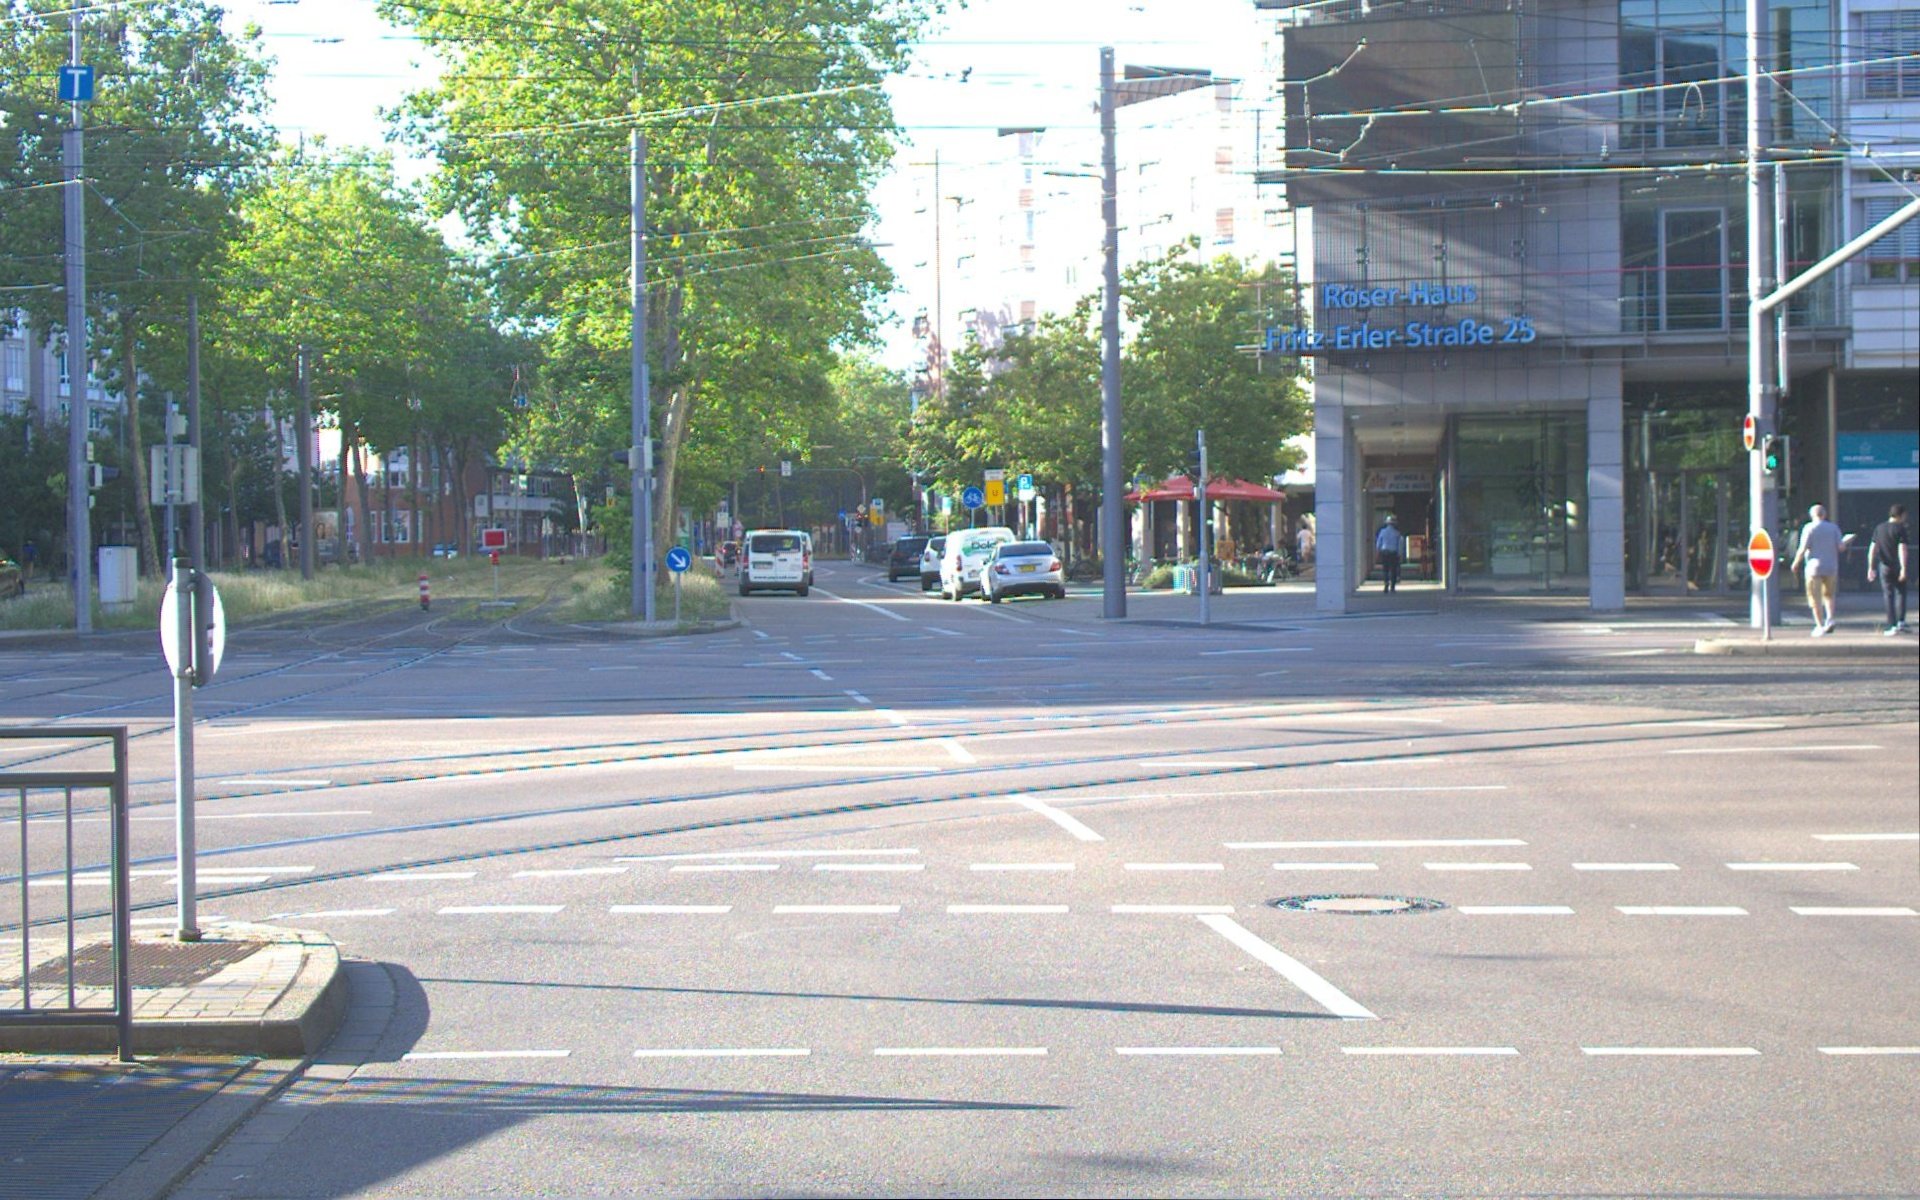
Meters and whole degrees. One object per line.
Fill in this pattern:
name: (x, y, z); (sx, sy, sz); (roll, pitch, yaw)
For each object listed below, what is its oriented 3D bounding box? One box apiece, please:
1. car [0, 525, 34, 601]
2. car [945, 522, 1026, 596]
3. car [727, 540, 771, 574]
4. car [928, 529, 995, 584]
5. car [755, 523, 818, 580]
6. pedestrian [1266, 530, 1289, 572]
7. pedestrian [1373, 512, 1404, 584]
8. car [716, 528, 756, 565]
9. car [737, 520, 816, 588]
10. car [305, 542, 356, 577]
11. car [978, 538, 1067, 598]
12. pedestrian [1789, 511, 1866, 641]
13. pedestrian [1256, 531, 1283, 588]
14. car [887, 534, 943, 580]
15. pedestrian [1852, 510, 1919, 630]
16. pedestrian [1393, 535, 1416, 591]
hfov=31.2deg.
car: (-21.672, -0.799, 74.915); (1.993, 1.634, 4.000); (-1, 1, -1)
car: (0.641, -1.091, 89.562); (1.993, 1.853, 4.000); (-1, 1, -1)
car: (-9.018, -1.836, 147.110); (1.797, 1.437, 4.000); (1, 1, -2)
car: (0.028, -1.354, 105.208); (1.993, 1.612, 4.000); (-1, 1, 0)
car: (-5.976, -1.685, 118.857); (1.993, 1.905, 4.000); (-1, 1, -1)
pedestrian: (9.799, -1.501, 106.088); (0.577, 1.284, 0.910); (-1, 1, -1)
pedestrian: (9.079, -1.103, 72.884); (0.612, 1.502, 0.579); (-1, 1, 10)
car: (-12.526, -3.012, 192.143); (1.993, 2.007, 4.000); (-1, 1, -1)
car: (-5.169, -1.311, 97.199); (1.961, 1.842, 5.330); (-1, 1, 0)
car: (-33.817, -2.166, 184.835); (1.993, 1.809, 4.000); (-1, 1, -1)
car: (1.485, -0.782, 82.767); (1.993, 1.371, 4.000); (-1, 1, -1)
pedestrian: (12.053, -0.336, 47.788); (0.863, 1.782, 0.871); (-1, 1, 2)
pedestrian: (9.437, -1.235, 104.869); (0.744, 1.708, 0.612); (-1, 1, -1)
car: (-1.652, -1.592, 126.658); (1.993, 1.612, 4.000); (-1, 1, 0)
pedestrian: (13.213, -0.427, 48.815); (0.912, 1.679, 1.035); (-1, 1, 7)
pedestrian: (11.867, -0.990, 91.792); (0.612, 1.502, 0.579); (-1, 1, 7)
